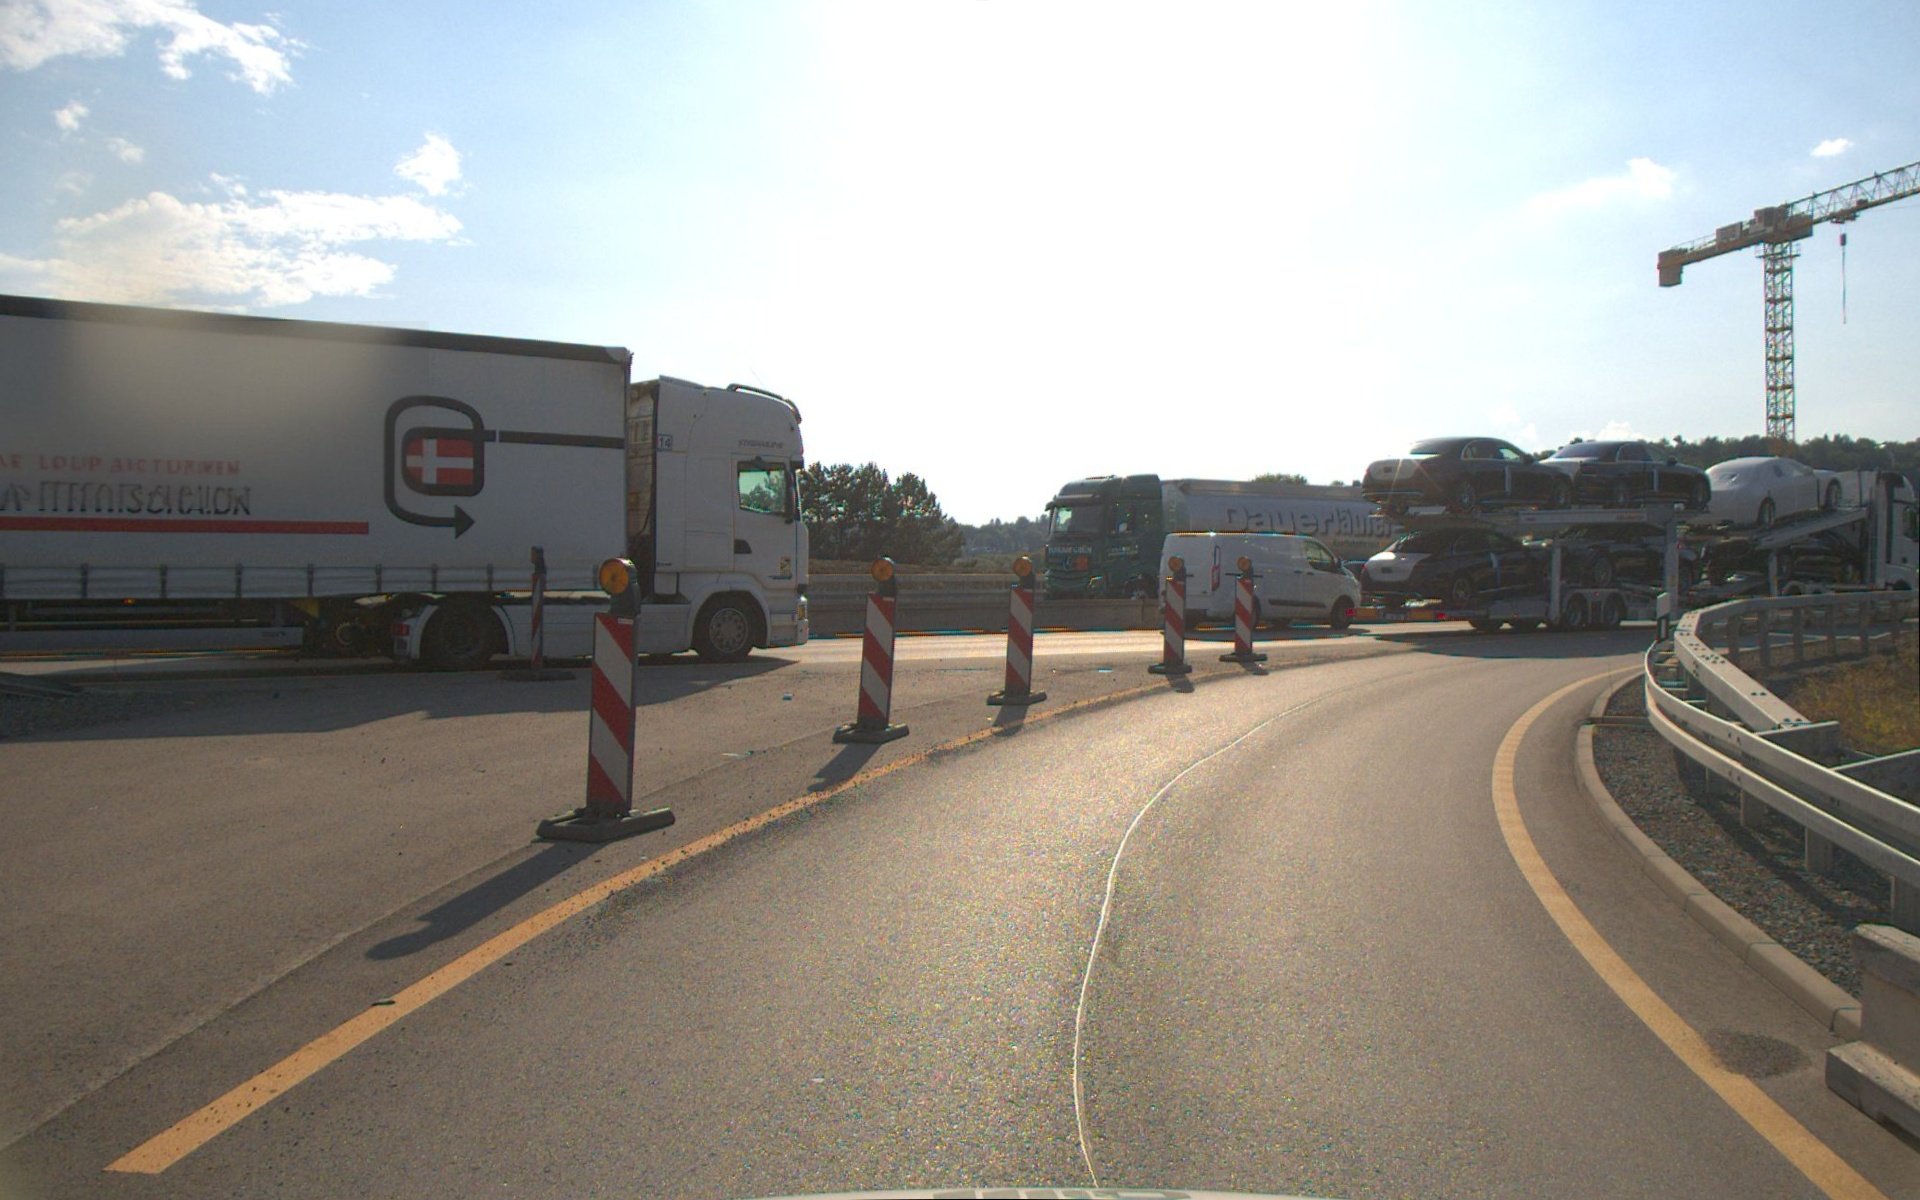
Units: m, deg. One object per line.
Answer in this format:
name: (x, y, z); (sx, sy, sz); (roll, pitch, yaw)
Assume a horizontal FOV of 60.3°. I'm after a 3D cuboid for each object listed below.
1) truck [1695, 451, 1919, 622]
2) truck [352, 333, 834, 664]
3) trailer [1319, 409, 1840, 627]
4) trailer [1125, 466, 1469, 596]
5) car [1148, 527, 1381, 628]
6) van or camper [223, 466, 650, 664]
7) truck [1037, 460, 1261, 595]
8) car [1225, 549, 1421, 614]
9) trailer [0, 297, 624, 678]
truck: (21.871, -1.502, 42.265); (6.551, 4.066, 2.821); (0, 0, -36)
truck: (-4.873, -1.209, 22.472); (5.945, 3.946, 2.456); (0, 0, -37)
trailer: (14.261, -1.530, 36.621); (15.571, 4.066, 2.830); (0, 0, -36)
trailer: (9.419, -1.746, 45.183); (10.844, 3.189, 2.122); (0, -1, -33)
car: (6.490, -0.497, 35.068); (4.922, 2.015, 2.010); (0, 2, -35)
van or camper: (-7.754, -0.485, 24.895); (5.838, 2.665, 1.975); (0, 0, -36)
truck: (4.860, -1.741, 42.142); (5.618, 3.189, 2.122); (0, -1, -34)
car: (9.071, -0.480, 41.191); (4.922, 1.526, 2.010); (-1, 2, -35)
trailer: (-10.449, -1.170, 18.284); (13.481, 3.946, 2.456); (0, 0, -37)
